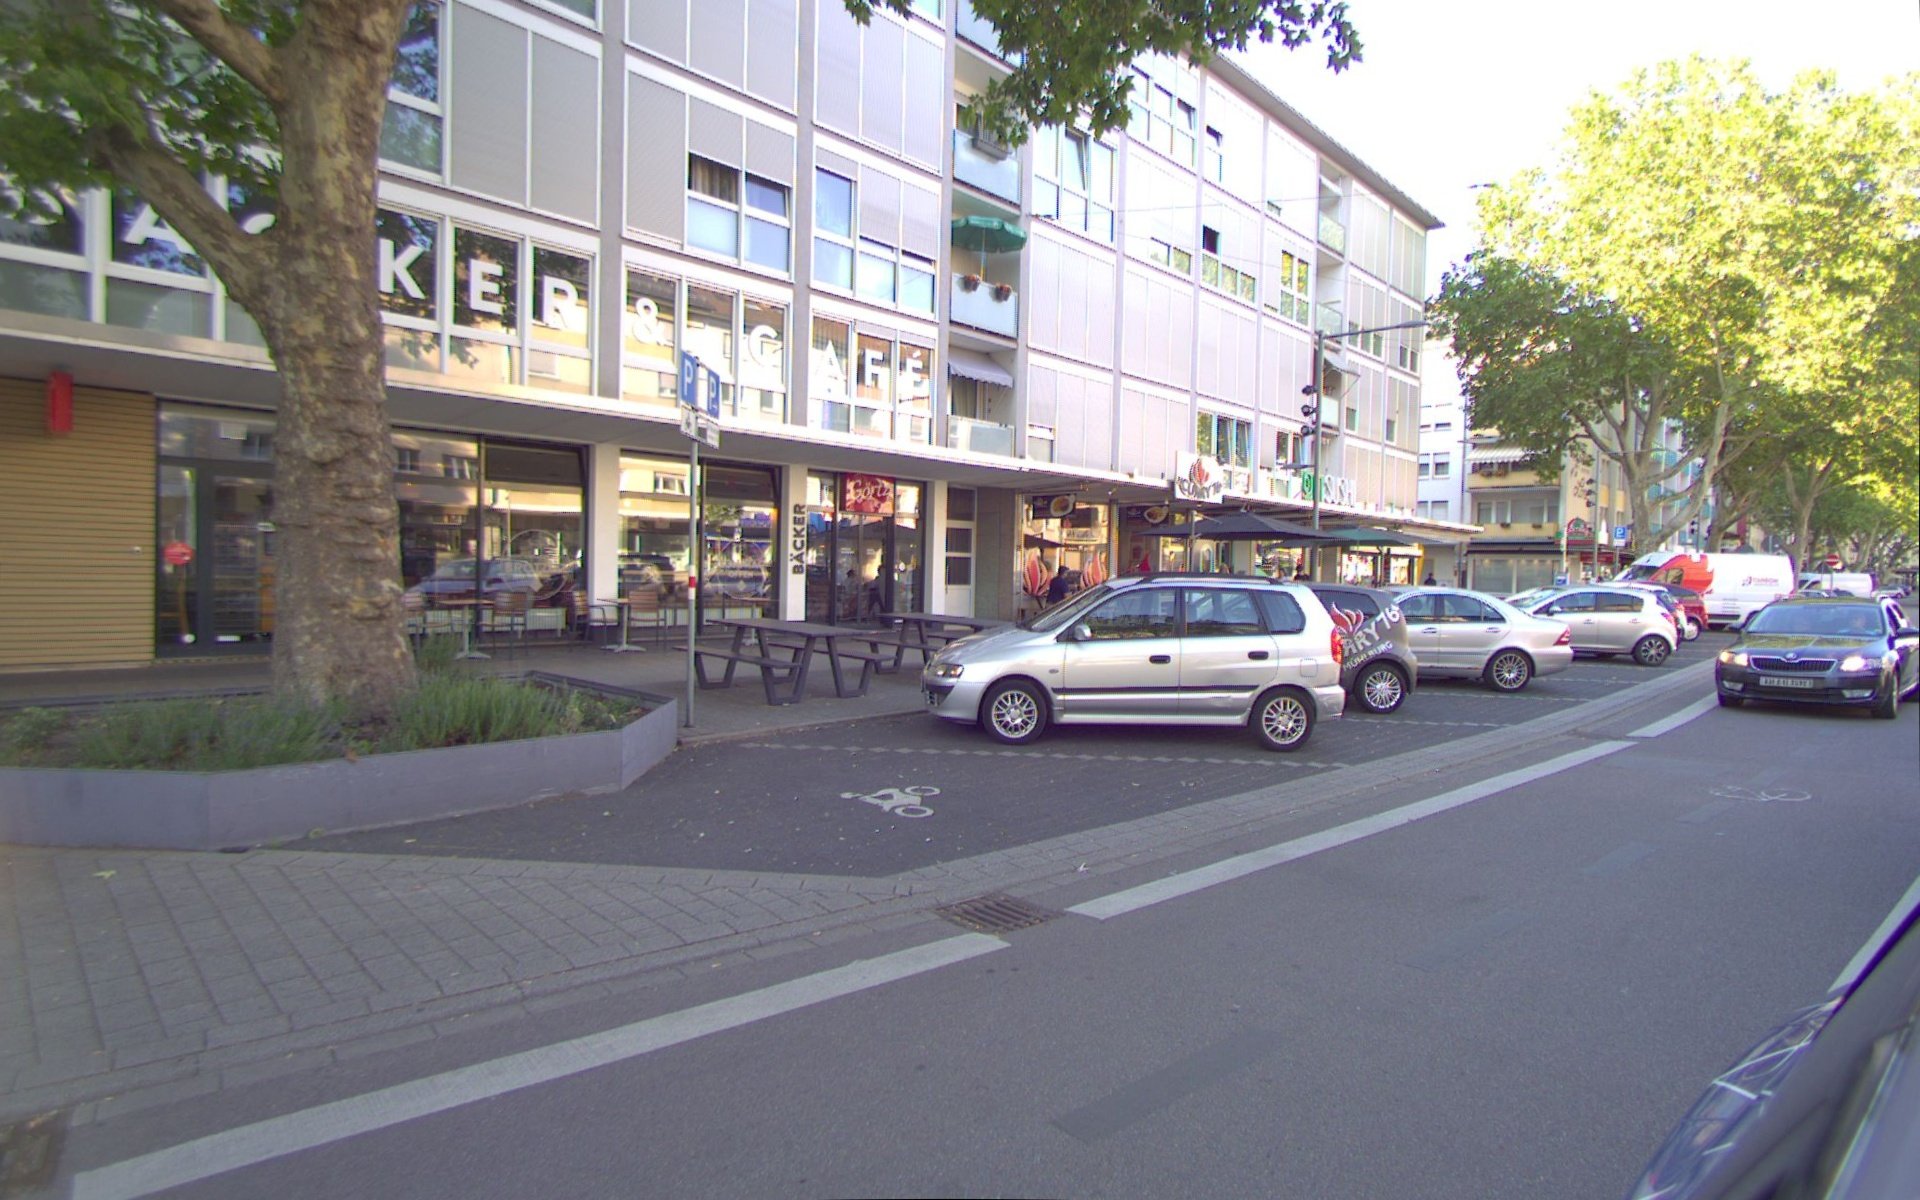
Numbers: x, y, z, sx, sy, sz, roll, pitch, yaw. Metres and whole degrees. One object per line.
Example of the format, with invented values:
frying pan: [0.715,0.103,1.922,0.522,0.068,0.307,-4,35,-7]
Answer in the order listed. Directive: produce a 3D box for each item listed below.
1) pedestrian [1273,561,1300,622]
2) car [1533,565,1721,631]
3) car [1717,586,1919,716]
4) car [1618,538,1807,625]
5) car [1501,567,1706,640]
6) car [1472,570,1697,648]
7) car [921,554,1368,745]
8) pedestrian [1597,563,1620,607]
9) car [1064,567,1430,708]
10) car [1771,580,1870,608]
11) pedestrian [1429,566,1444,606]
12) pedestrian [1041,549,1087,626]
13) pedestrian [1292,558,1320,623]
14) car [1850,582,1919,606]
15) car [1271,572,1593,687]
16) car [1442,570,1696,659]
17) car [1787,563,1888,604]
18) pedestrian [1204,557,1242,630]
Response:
pedestrian: [9.003,-0.240,27.897,0.536,1.660,0.470,2,2,45]
car: [18.109,-0.102,27.679,3.892,1.445,1.667,4,5,20]
car: [11.719,0.554,13.542,4.155,1.470,1.727,-1,1,-41]
car: [23.730,-0.585,32.050,4.514,2.525,1.675,2,0,5]
car: [15.934,0.041,25.277,3.888,1.445,1.669,4,5,17]
car: [13.892,0.150,22.754,3.886,1.446,1.670,3,3,16]
car: [1.613,0.414,9.807,3.906,1.560,1.679,2,3,-3]
pedestrian: [30.596,-0.711,47.757,0.746,2.038,0.752,2,2,45]
car: [3.338,0.406,12.283,3.864,1.446,1.679,2,3,-3]
car: [48.108,-0.353,56.651,3.864,1.422,1.782,1,2,3]
pedestrian: [20.751,-0.615,44.096,0.473,1.751,0.347,1,1,11]
pedestrian: [2.204,-0.272,21.406,0.757,1.602,0.583,0,2,-39]
pedestrian: [9.420,-0.256,27.519,0.544,1.741,0.450,2,2,45]
car: [56.745,-0.341,61.332,3.864,1.350,1.782,1,2,3]
car: [6.772,0.385,14.811,3.867,1.418,1.598,2,3,1]
car: [11.801,0.243,19.808,3.871,1.446,1.559,3,3,4]
car: [56.446,-1.079,65.170,4.512,2.499,1.977,1,2,3]
pedestrian: [5.844,-0.148,22.471,0.559,1.596,0.632,2,2,44]
